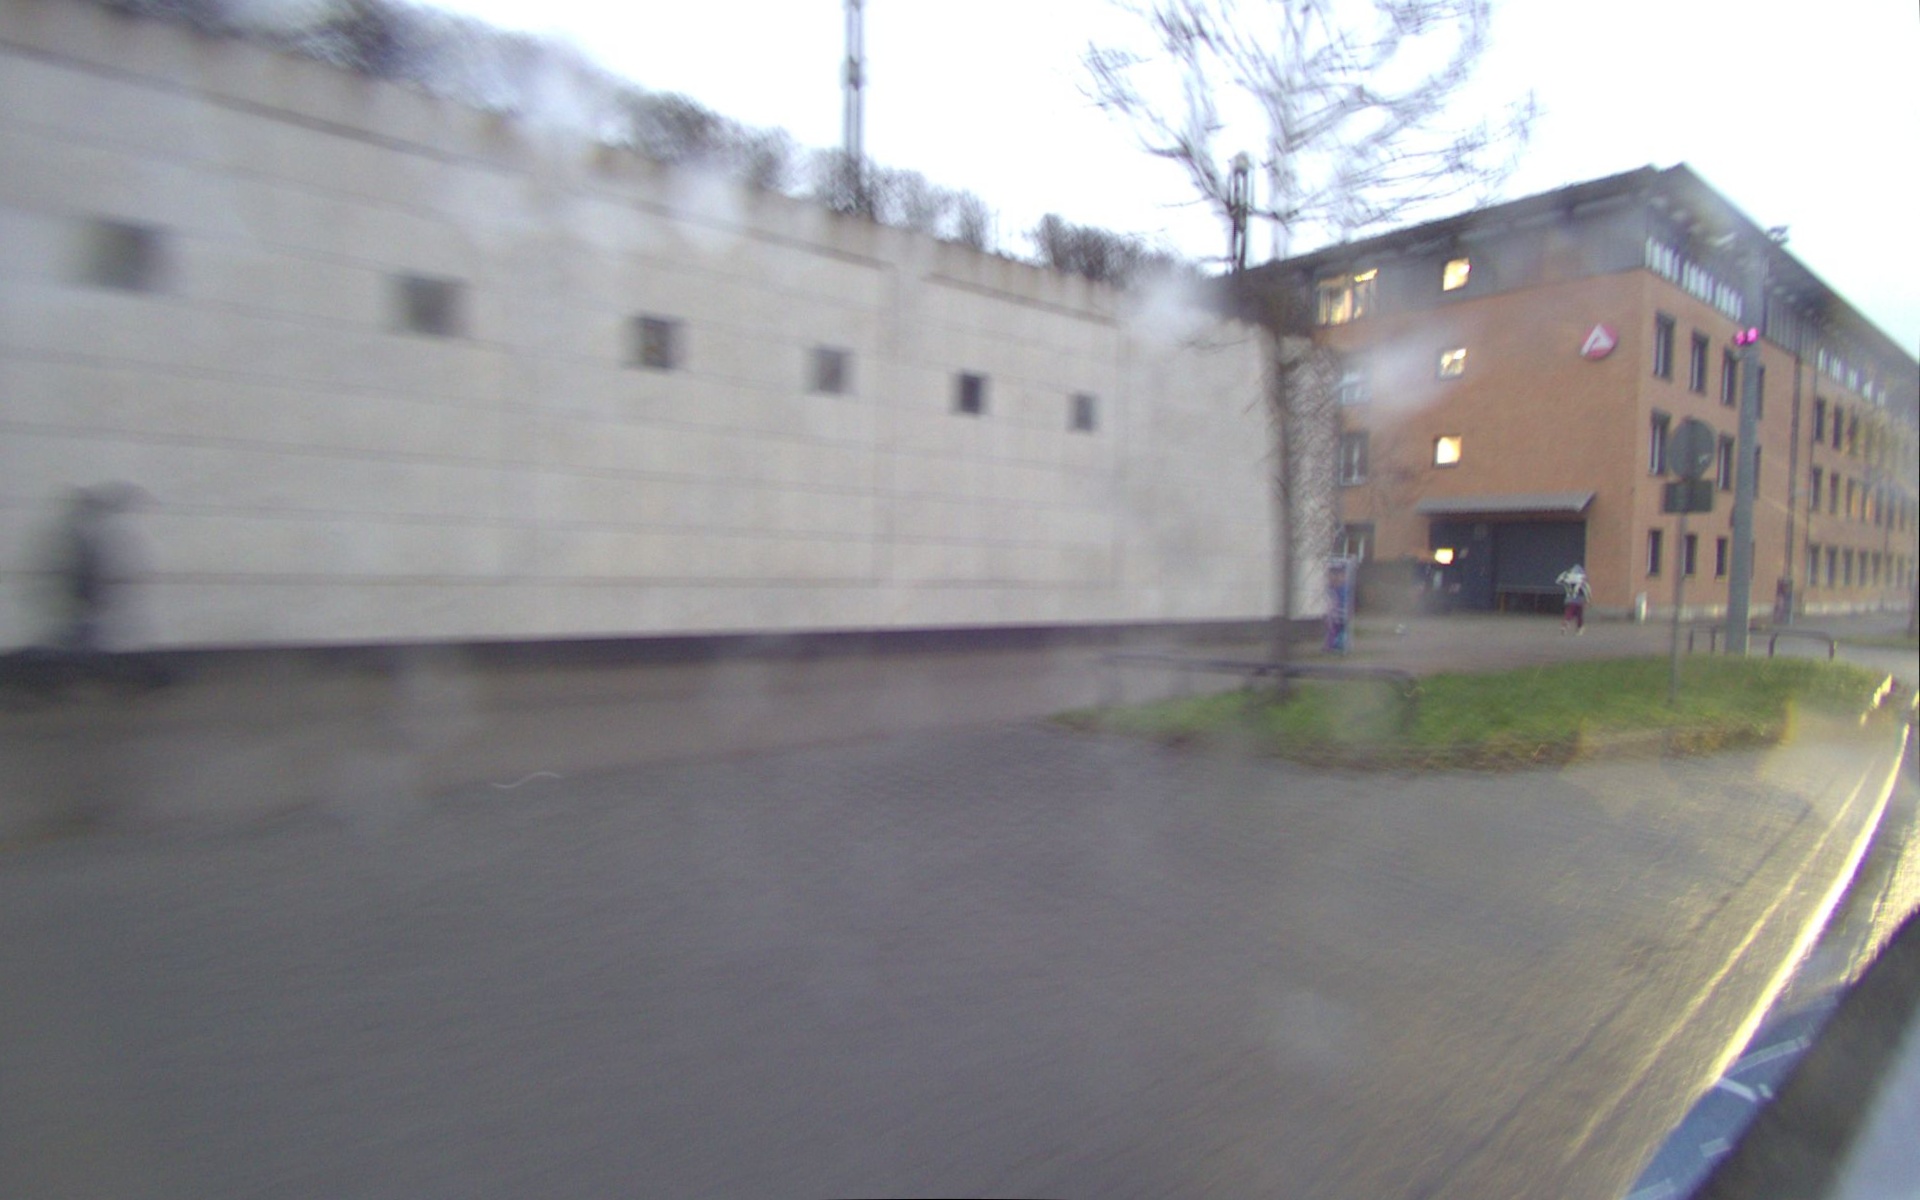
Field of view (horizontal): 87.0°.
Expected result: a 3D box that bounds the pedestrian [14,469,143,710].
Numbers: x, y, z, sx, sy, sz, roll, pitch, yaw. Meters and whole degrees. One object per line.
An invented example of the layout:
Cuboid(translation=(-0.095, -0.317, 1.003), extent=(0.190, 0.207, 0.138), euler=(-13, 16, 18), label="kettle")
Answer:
Cuboid(translation=(-6.489, -0.094, 7.470), extent=(0.682, 1.638, 0.939), euler=(0, 2, -41), label="pedestrian")

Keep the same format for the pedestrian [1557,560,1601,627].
Cuboid(translation=(15.511, -0.180, 25.351), extent=(1.049, 1.630, 0.622), euler=(0, 2, -42), label="pedestrian")
